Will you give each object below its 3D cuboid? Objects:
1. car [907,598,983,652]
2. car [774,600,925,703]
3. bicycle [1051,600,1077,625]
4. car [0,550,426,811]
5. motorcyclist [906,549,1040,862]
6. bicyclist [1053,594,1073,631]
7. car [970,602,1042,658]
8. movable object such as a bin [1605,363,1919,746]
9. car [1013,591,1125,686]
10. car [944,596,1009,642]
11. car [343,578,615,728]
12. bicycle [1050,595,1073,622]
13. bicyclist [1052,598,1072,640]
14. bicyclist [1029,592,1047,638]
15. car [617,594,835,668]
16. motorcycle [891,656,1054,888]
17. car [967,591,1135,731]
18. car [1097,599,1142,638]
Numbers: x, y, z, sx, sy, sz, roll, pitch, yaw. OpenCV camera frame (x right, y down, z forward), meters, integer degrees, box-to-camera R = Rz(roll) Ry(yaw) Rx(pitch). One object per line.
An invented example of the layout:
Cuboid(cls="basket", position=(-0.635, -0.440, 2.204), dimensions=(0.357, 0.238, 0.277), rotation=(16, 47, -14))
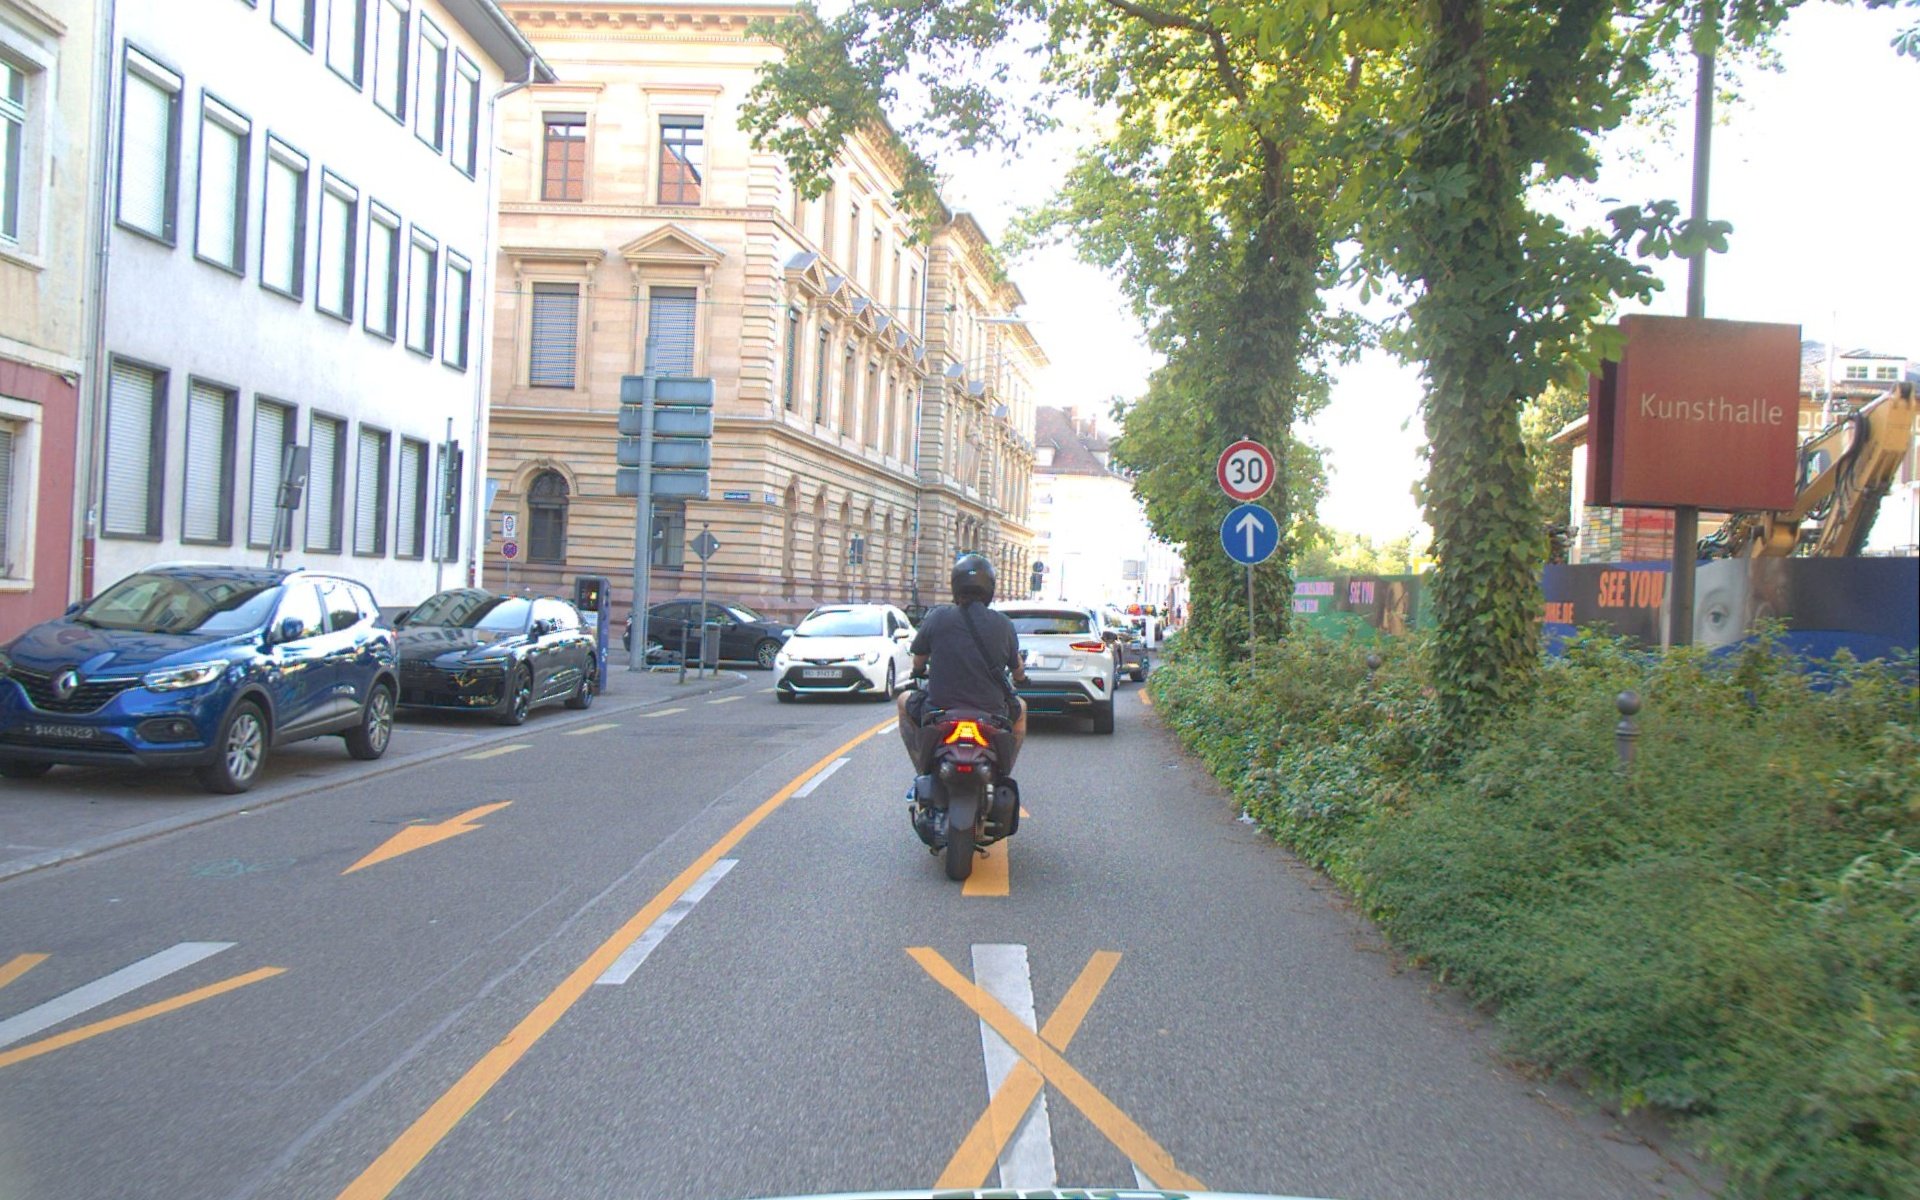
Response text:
Cuboid(cls="car", position=(-0.422, 0.749, 52.327), dimensions=(1.951, 1.594, 4.291), rotation=(1, 0, 5))
Cuboid(cls="car", position=(-1.645, 0.741, 26.089), dimensions=(1.698, 1.446, 4.431), rotation=(-1, 0, 5))
Cuboid(cls="bicycle", position=(4.480, 0.543, 71.270), dimensions=(0.522, 1.053, 2.036), rotation=(1, 0, 21))
Cuboid(cls="car", position=(-5.981, 0.518, 13.176), dimensions=(1.894, 1.696, 4.348), rotation=(2, 0, 2))
Cuboid(cls="motorcyclist", position=(0.079, 0.578, 9.420), dimensions=(0.644, 1.679, 0.651), rotation=(3, 0, 1))
Cuboid(cls="bicyclist", position=(4.451, 0.531, 71.314), dimensions=(0.615, 1.581, 0.732), rotation=(1, 0, 21))
Cuboid(cls="car", position=(1.384, 0.823, 47.720), dimensions=(1.732, 1.486, 4.472), rotation=(1, 0, 6))
Cuboid(cls="movable object such as a bin", position=(12.356, -0.530, 23.990), dimensions=(3.238, 4.618, 7.909), rotation=(2, 0, 4))
Cuboid(cls="car", position=(2.039, 0.648, 29.840), dimensions=(1.801, 1.489, 4.060), rotation=(3, 0, 6))
Cuboid(cls="car", position=(0.640, 0.655, 59.504), dimensions=(1.951, 1.555, 4.187), rotation=(2, 0, 5))
Cuboid(cls="car", position=(-5.735, 0.571, 20.389), dimensions=(1.786, 1.530, 4.761), rotation=(3, 0, 1))
Cuboid(cls="bicycle", position=(4.080, 0.333, 66.471), dimensions=(0.521, 1.053, 1.908), rotation=(1, 0, 16))
Cuboid(cls="bicyclist", position=(4.099, 0.757, 66.374), dimensions=(0.615, 1.642, 0.870), rotation=(1, 0, 16))
Cuboid(cls="bicyclist", position=(2.909, 0.551, 61.960), dimensions=(0.554, 1.696, 0.835), rotation=(1, 0, 8))
Cuboid(cls="car", position=(-4.952, 0.636, 35.232), dimensions=(4.221, 1.414, 1.777), rotation=(1, 0, 11))
Cuboid(cls="motorcycle", position=(0.070, 0.917, 9.395), dimensions=(0.780, 1.084, 1.725), rotation=(3, 0, 0))
Cuboid(cls="car", position=(1.023, 0.654, 19.977), dimensions=(1.812, 1.506, 4.058), rotation=(1, 0, 1))
Cuboid(cls="car", position=(7.341, 0.827, 76.145), dimensions=(1.951, 1.724, 4.402), rotation=(1, 0, 5))
